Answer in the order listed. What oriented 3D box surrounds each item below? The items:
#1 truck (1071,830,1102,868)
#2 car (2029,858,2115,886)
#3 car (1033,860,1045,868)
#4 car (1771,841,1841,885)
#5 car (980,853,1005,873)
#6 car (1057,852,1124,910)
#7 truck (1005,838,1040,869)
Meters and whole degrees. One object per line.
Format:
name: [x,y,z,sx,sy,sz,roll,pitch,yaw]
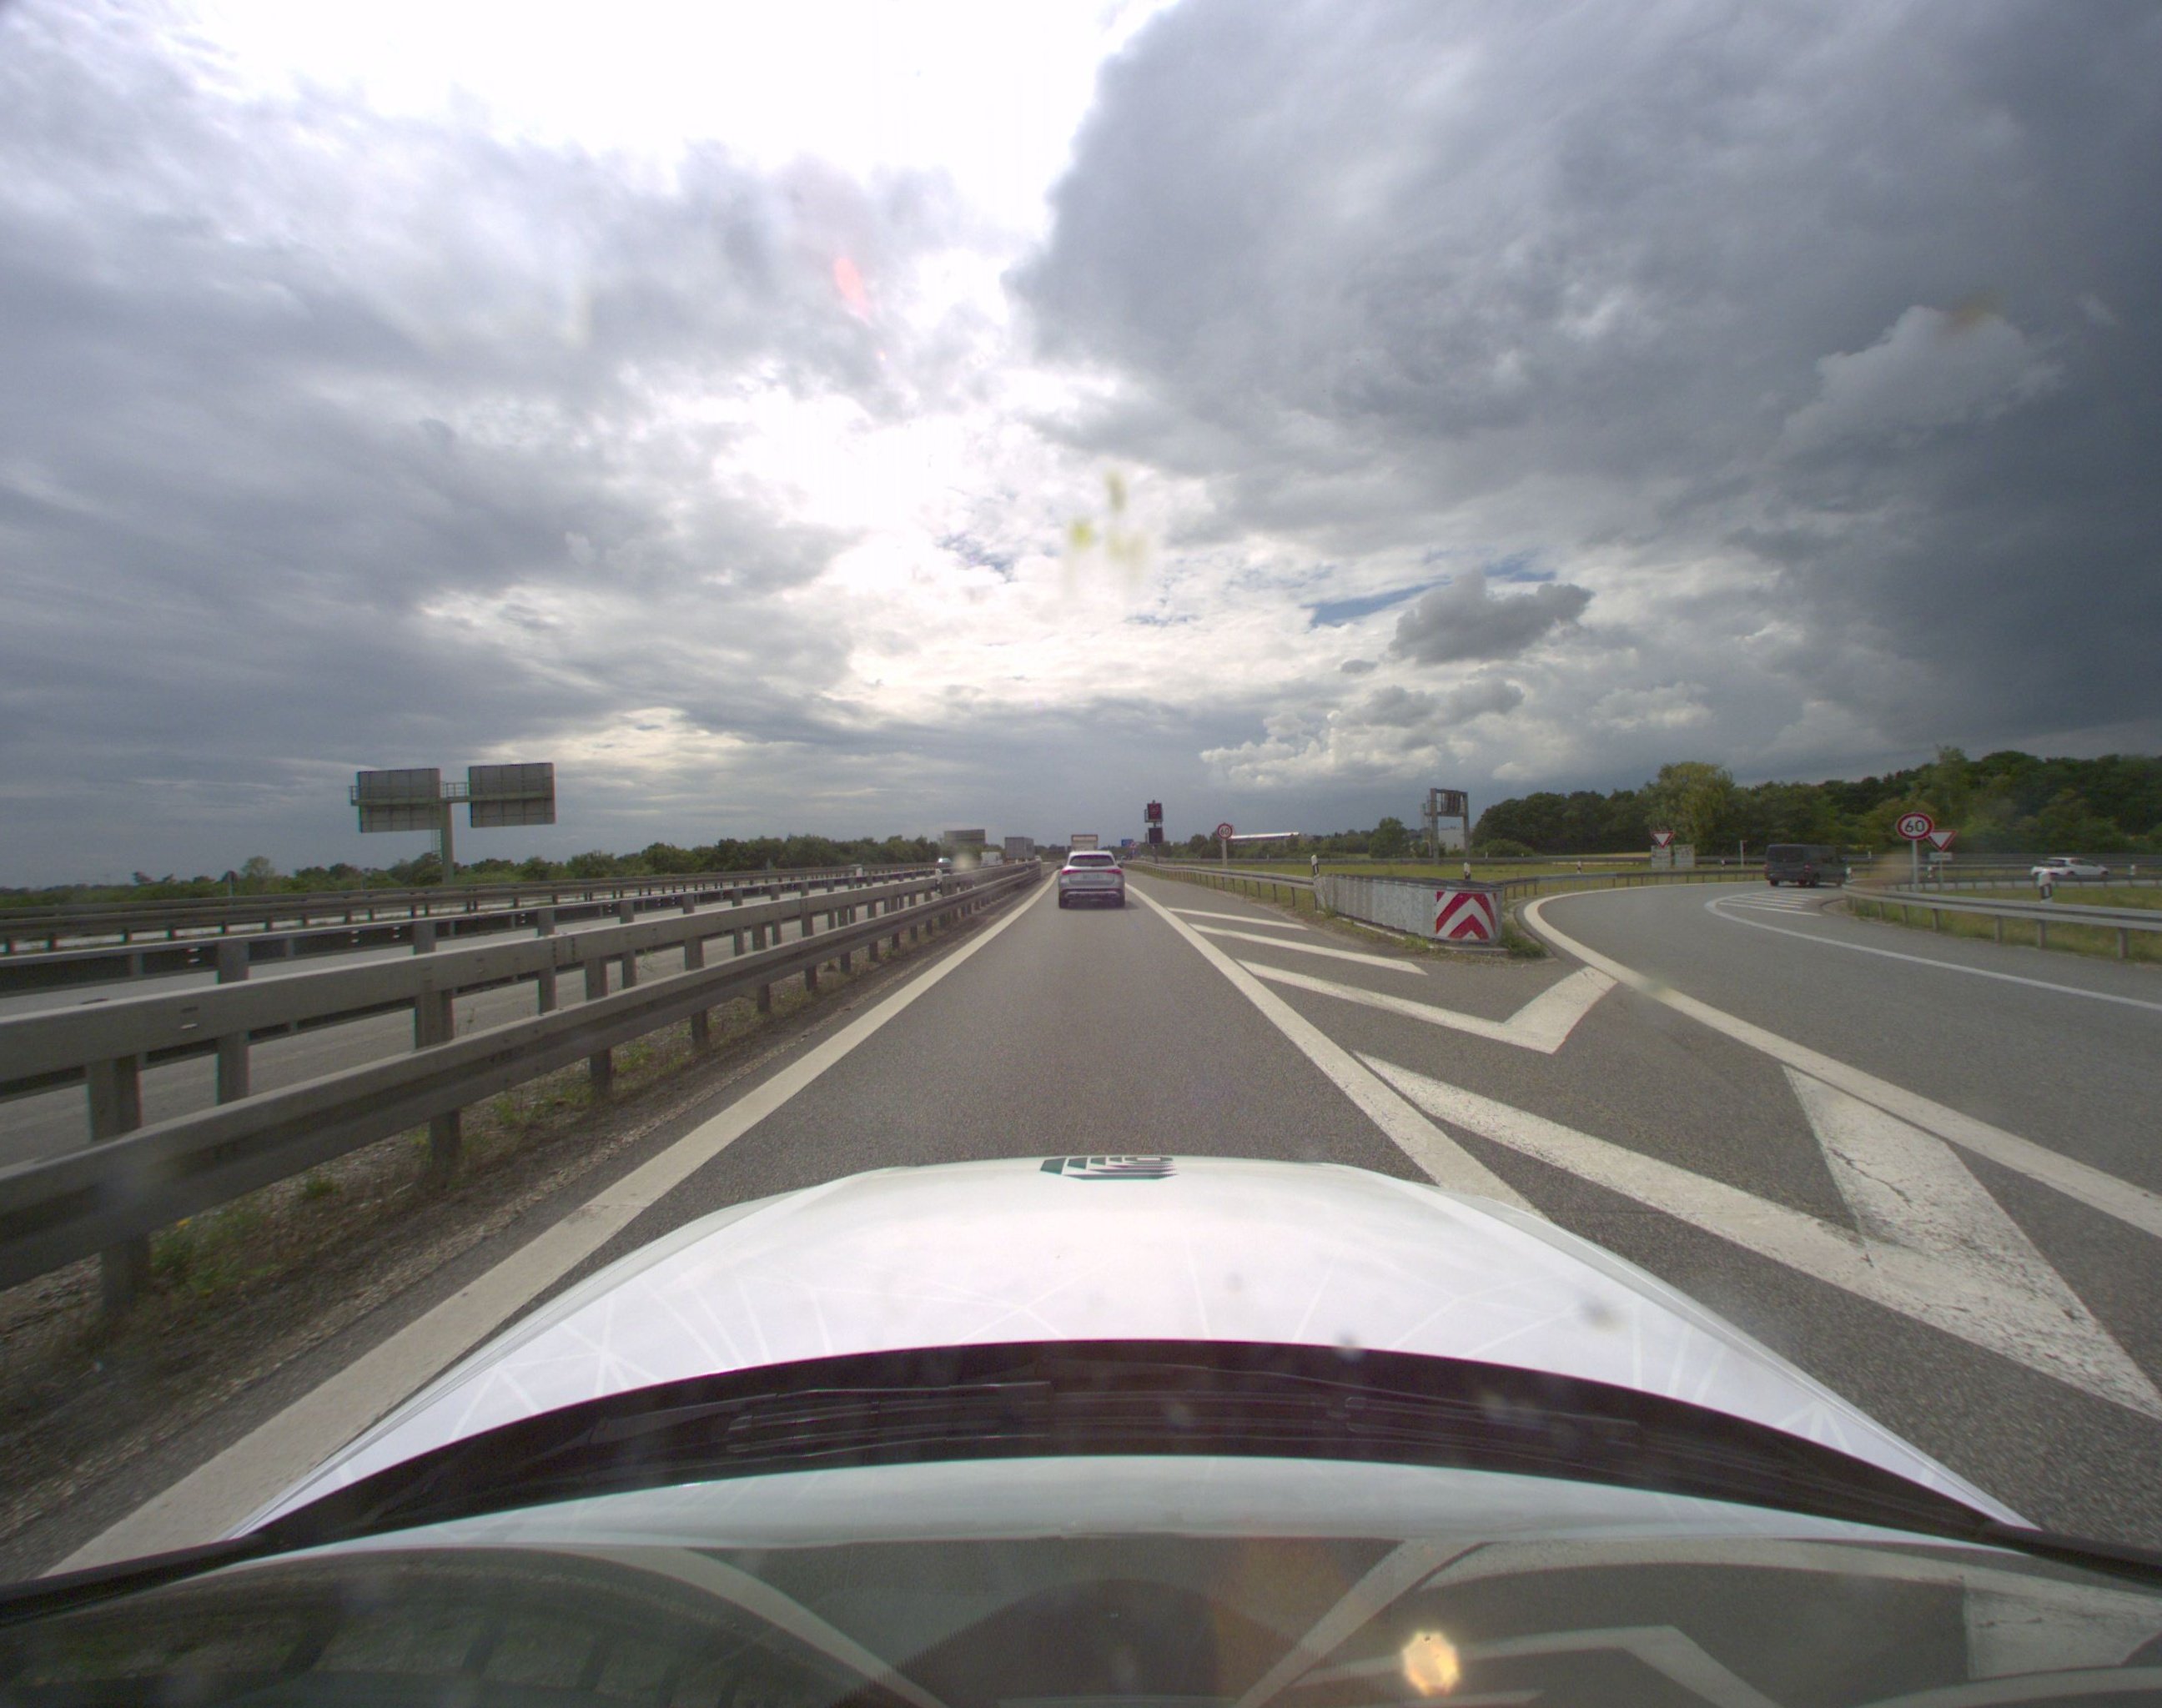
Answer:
truck: [0.530,-0.386,71.702,2.560,3.126,8.635,-1,0,1]
car: [64.914,1.140,53.384,3.989,1.709,1.992,-1,1,-12]
car: [-7.457,1.799,145.819,1.689,1.288,4.003,-1,1,3]
car: [39.891,0.463,44.778,4.668,2.261,1.892,-1,1,-35]
car: [-9.752,0.950,90.024,1.985,2.013,4.378,-1,1,3]
car: [0.325,0.720,24.246,1.813,1.514,4.002,-1,1,1]
truck: [-7.987,-0.190,113.229,3.171,4.018,16.083,-1,1,2]
